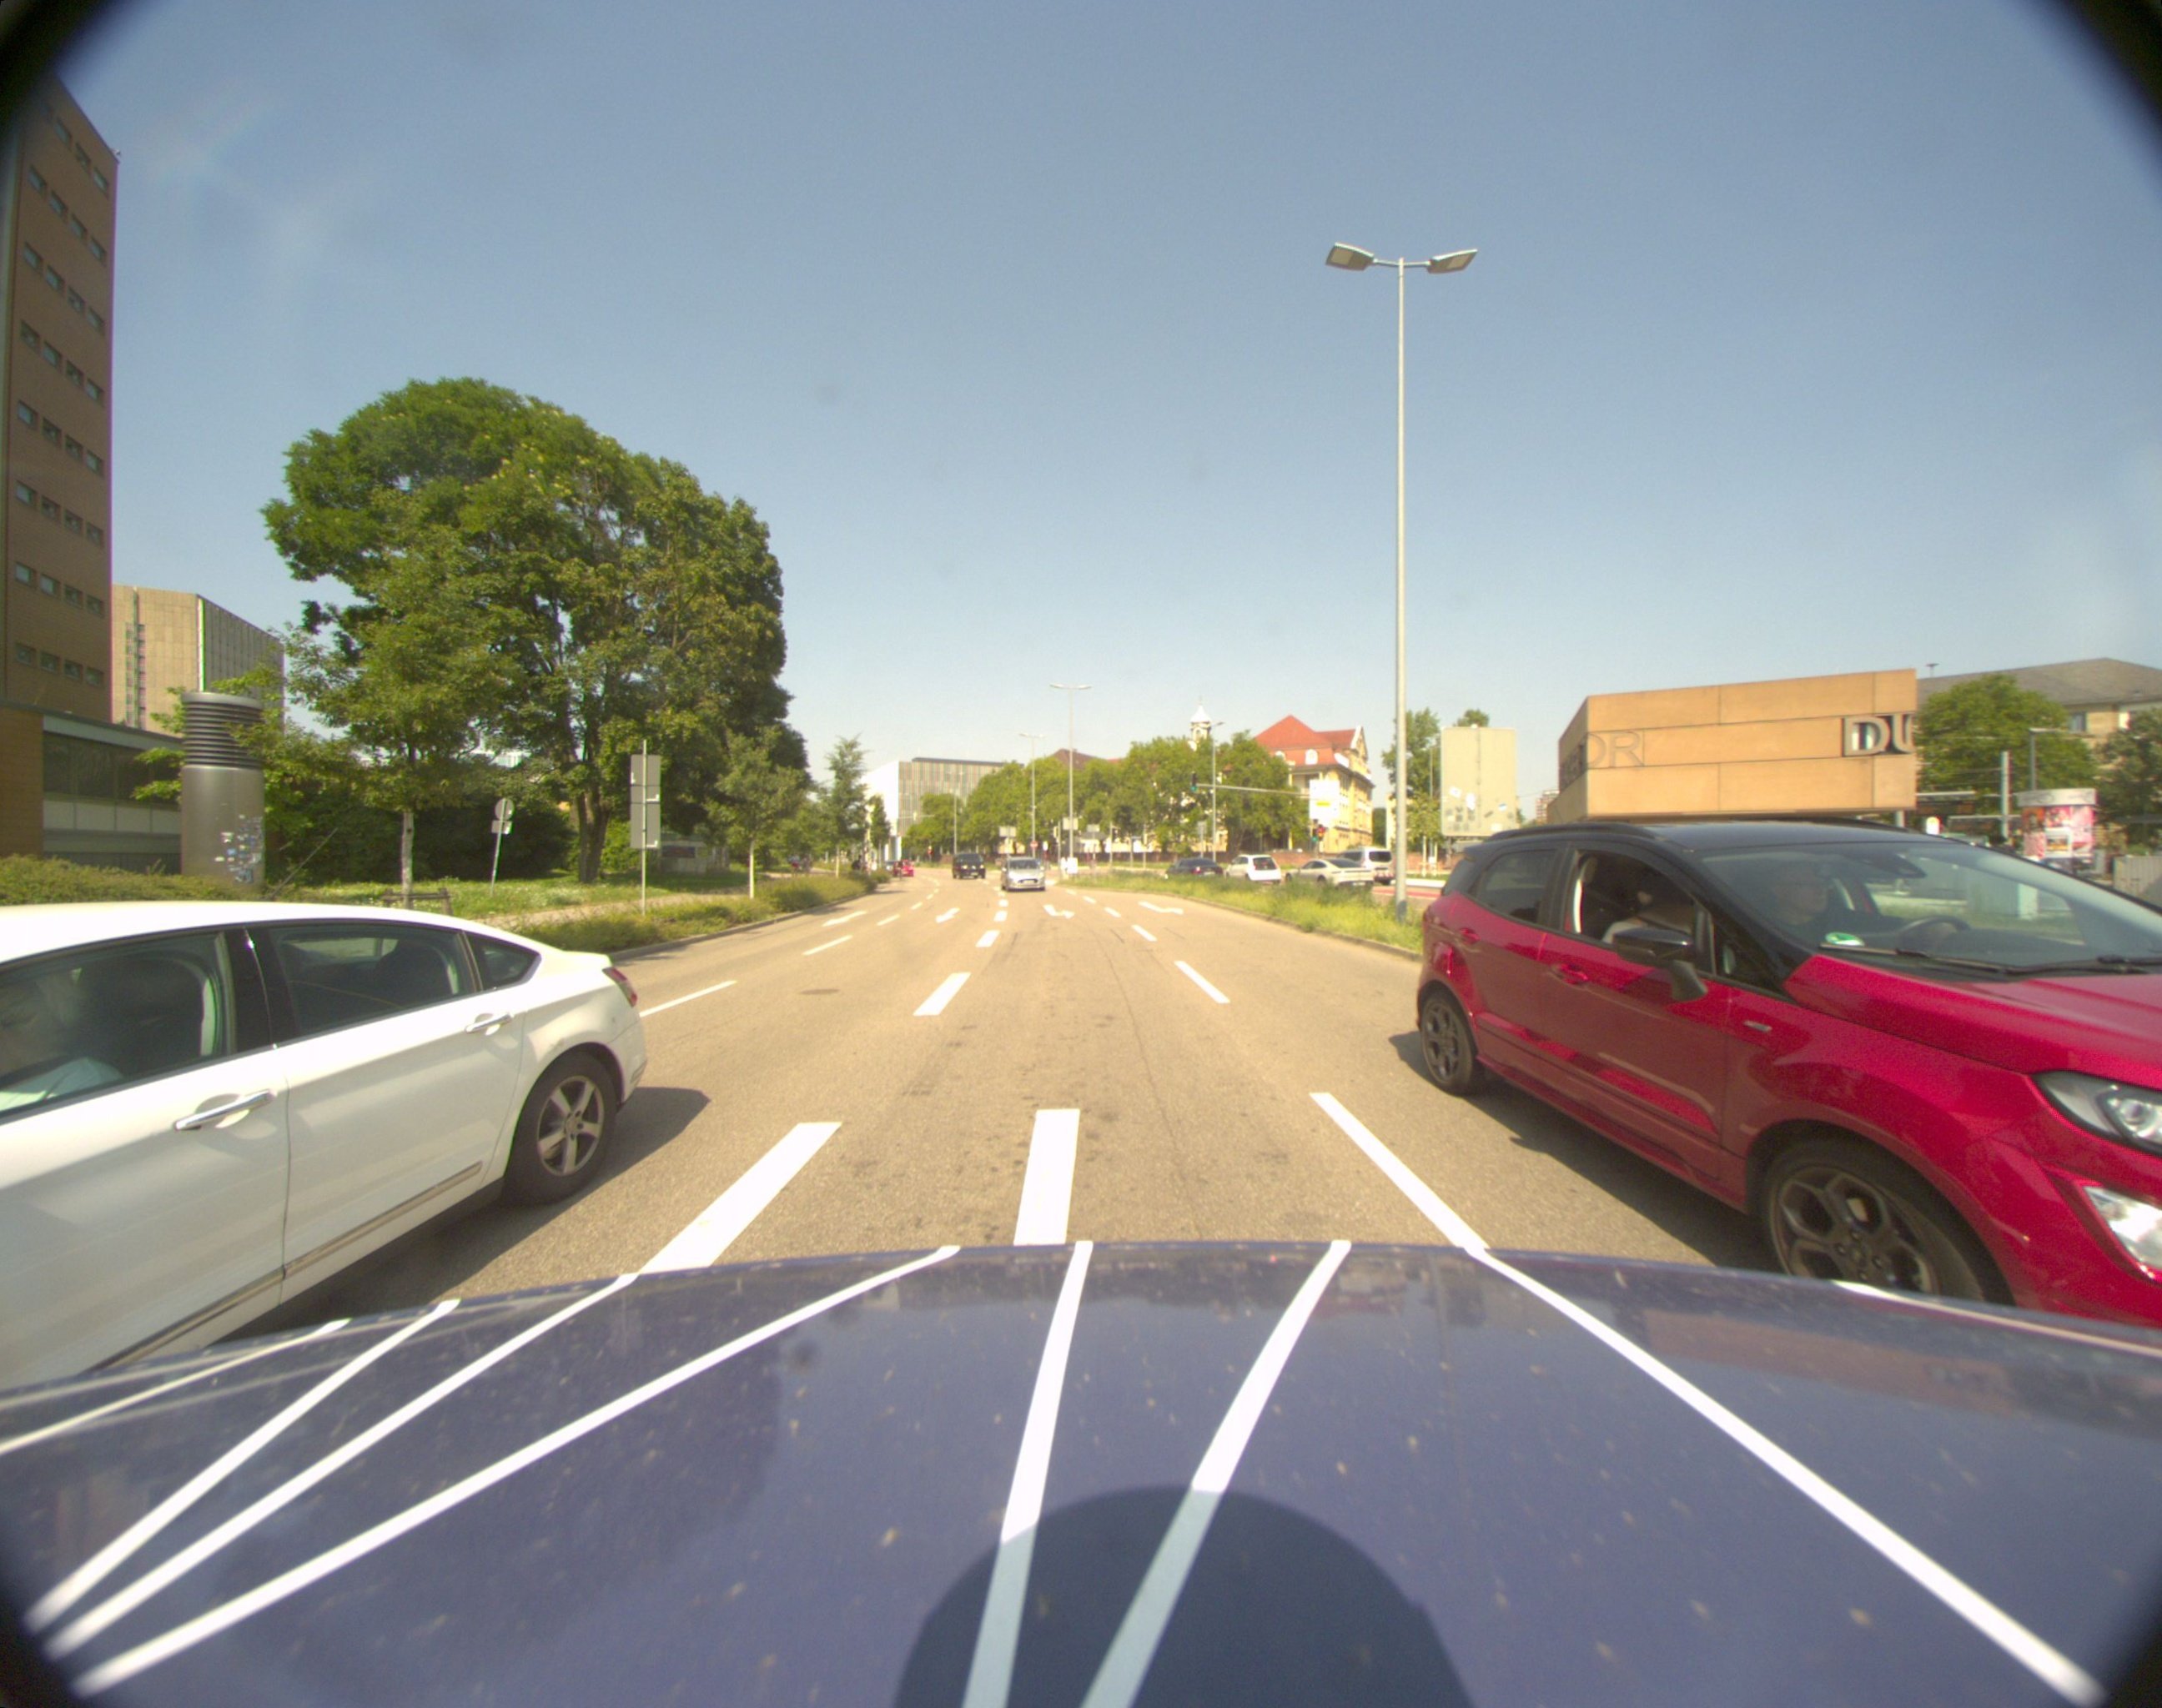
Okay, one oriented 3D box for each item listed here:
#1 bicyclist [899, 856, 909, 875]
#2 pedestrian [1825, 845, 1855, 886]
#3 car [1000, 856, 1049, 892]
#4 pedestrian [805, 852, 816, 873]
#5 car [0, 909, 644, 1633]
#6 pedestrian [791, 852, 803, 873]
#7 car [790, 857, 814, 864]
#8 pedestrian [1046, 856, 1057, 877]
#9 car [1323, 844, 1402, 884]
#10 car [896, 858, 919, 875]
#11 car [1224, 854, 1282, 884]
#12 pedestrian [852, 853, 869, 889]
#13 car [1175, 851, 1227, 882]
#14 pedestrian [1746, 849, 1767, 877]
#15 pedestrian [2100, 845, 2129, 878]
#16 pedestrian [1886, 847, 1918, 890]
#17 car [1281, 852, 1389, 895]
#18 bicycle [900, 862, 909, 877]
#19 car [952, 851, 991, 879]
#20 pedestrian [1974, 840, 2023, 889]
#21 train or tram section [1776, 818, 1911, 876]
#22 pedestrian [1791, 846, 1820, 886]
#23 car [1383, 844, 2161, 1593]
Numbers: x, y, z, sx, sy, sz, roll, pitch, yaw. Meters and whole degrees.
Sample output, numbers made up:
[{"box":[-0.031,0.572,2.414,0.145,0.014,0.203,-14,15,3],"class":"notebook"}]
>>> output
[{"box":[-13.704,0.890,58.971,0.680,1.392,1.048,-1,1,-17],"class":"bicyclist"},{"box":[27.921,0.431,27.946,0.539,1.488,0.541,0,1,-1],"class":"pedestrian"},{"box":[-2.690,0.893,35.499,1.660,1.521,4.529,-2,0,-12],"class":"car"},{"box":[-17.110,0.518,48.018,0.577,1.291,0.437,-3,1,-18],"class":"pedestrian"},{"box":[-3.290,1.023,1.832,1.773,1.420,4.609,0,0,0],"class":"car"},{"box":[-17.829,0.555,47.674,0.635,1.291,0.486,-3,1,-17],"class":"pedestrian"},{"box":[-59.676,1.341,162.371,4.429,1.380,1.767,-2,0,-36],"class":"car"},{"box":[-1.886,0.780,48.681,0.605,1.291,0.617,-2,1,-4],"class":"pedestrian"},{"box":[13.793,0.456,37.490,1.869,1.843,3.911,0,1,-12],"class":"car"},{"box":[-15.374,1.081,67.350,1.652,1.422,3.810,-2,0,-18],"class":"car"},{"box":[8.675,0.732,38.577,1.527,1.470,3.473,0,0,-13],"class":"car"},{"box":[-11.791,0.918,40.658,0.823,1.892,0.630,-1,1,-12],"class":"pedestrian"},{"box":[5.751,0.557,36.692,1.526,1.417,3.474,0,0,-8],"class":"car"},{"box":[26.879,0.369,30.224,0.538,1.093,0.543,0,1,32],"class":"pedestrian"},{"box":[43.617,0.325,32.076,0.554,1.386,0.534,0,1,28],"class":"pedestrian"},{"box":[28.925,0.515,26.774,0.539,1.488,0.541,0,1,-1],"class":"pedestrian"},{"box":[10.134,0.731,30.722,2.001,1.576,4.710,0,0,-12],"class":"car"},{"box":[-13.724,1.187,59.073,0.595,1.162,2.232,-1,0,-16],"class":"bicycle"},{"box":[-8.181,0.779,56.256,1.893,1.908,4.526,-2,0,-20],"class":"car"},{"box":[28.395,0.324,23.523,0.771,1.488,0.606,0,1,-1],"class":"pedestrian"},{"box":[50.832,-0.416,51.224,2.698,3.418,13.446,0,0,28],"class":"train or tram section"},{"box":[26.726,0.433,28.033,0.539,1.488,0.541,0,1,-1],"class":"pedestrian"},{"box":[2.987,0.780,3.533,1.694,1.577,3.845,-2,0,2],"class":"car"}]
